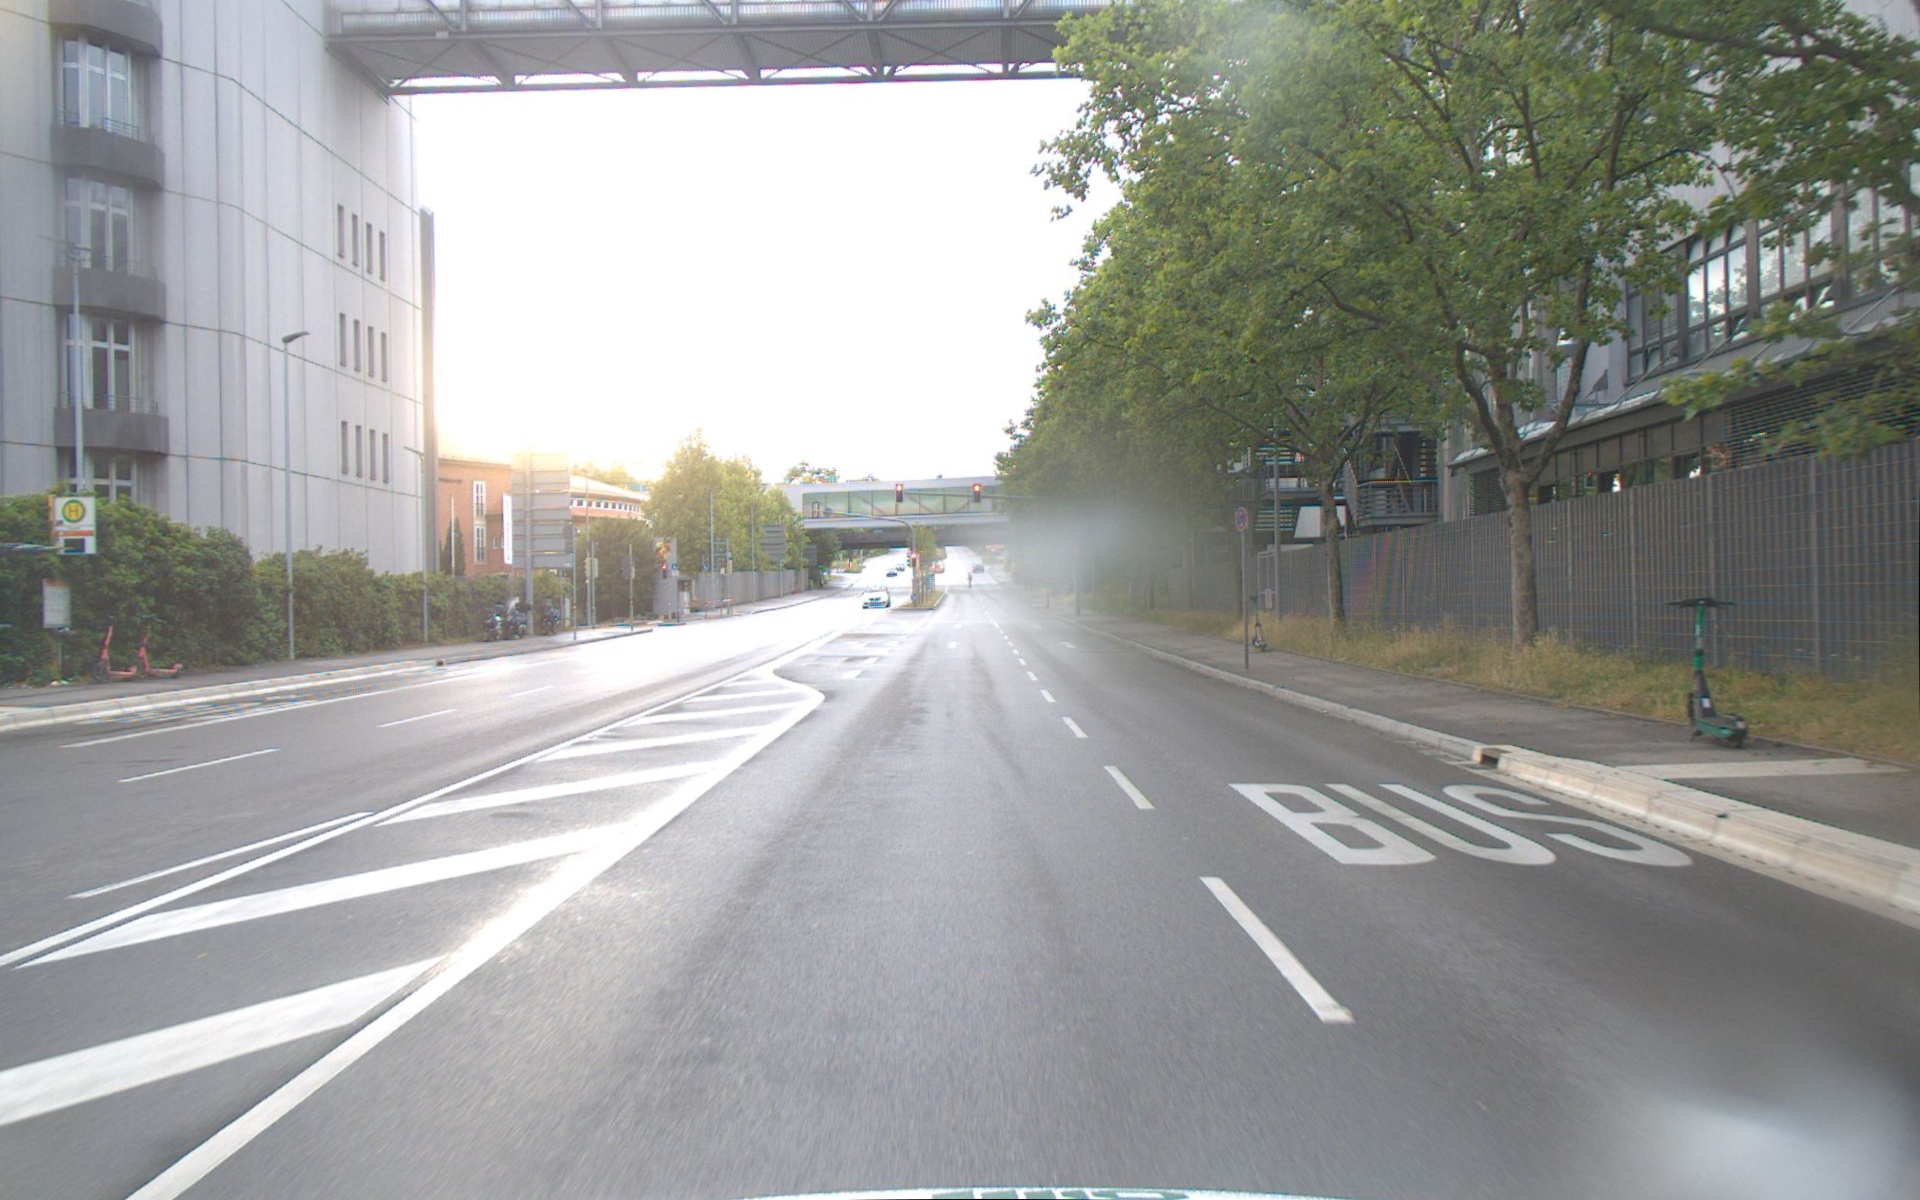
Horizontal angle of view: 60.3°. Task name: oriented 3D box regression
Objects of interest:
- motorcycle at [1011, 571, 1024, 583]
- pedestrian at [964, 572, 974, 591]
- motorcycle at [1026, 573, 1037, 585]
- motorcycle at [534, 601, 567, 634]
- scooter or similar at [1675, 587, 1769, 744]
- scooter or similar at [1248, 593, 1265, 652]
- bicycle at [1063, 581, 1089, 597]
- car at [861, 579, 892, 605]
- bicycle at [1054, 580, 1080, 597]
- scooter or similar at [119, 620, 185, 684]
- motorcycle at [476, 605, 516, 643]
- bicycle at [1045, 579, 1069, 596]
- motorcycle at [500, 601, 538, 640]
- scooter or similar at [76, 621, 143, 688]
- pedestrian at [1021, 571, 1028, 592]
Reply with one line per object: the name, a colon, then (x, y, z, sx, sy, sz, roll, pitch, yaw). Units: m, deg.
motorcycle: (6.913, -2.730, 197.353, 0.778, 1.334, 2.365, -2, 1, -17)
pedestrian: (1.088, -2.119, 189.775, 0.853, 2.039, 0.855, -2, 0, 18)
motorcycle: (8.315, -2.474, 192.371, 0.775, 1.334, 2.372, -2, 1, -8)
motorcycle: (-16.476, 0.682, 66.580, 0.768, 1.269, 2.157, -1, 0, 0)
scooter or similar: (6.786, 0.556, 14.765, 0.322, 1.331, 1.246, -1, 0, 4)
scooter or similar: (6.673, 0.496, 37.268, 0.321, 1.291, 1.109, -1, 0, 9)
bicycle: (8.891, -0.840, 126.345, 1.949, 1.114, 0.541, 1, -1, 1)
car: (-5.632, -0.559, 112.068, 1.839, 1.652, 3.779, -2, 1, 1)
bicycle: (8.242, -0.907, 127.814, 1.949, 1.237, 0.541, 1, -1, 1)
scooter or similar: (-15.980, 1.016, 32.747, 0.370, 1.201, 1.379, -1, 0, 13)
motorcycle: (-16.397, 0.824, 58.484, 0.768, 1.272, 2.157, -1, 0, 0)
bicycle: (8.168, -1.047, 139.492, 1.949, 1.455, 0.723, 1, -1, 1)
motorcycle: (-16.238, 0.741, 60.967, 0.768, 1.371, 2.370, -1, 0, 0)
scooter or similar: (-16.134, 1.026, 31.400, 0.380, 1.201, 1.251, -1, 0, 13)
pedestrian: (6.311, -1.816, 162.638, 0.609, 2.048, 0.606, -2, 0, 1)
